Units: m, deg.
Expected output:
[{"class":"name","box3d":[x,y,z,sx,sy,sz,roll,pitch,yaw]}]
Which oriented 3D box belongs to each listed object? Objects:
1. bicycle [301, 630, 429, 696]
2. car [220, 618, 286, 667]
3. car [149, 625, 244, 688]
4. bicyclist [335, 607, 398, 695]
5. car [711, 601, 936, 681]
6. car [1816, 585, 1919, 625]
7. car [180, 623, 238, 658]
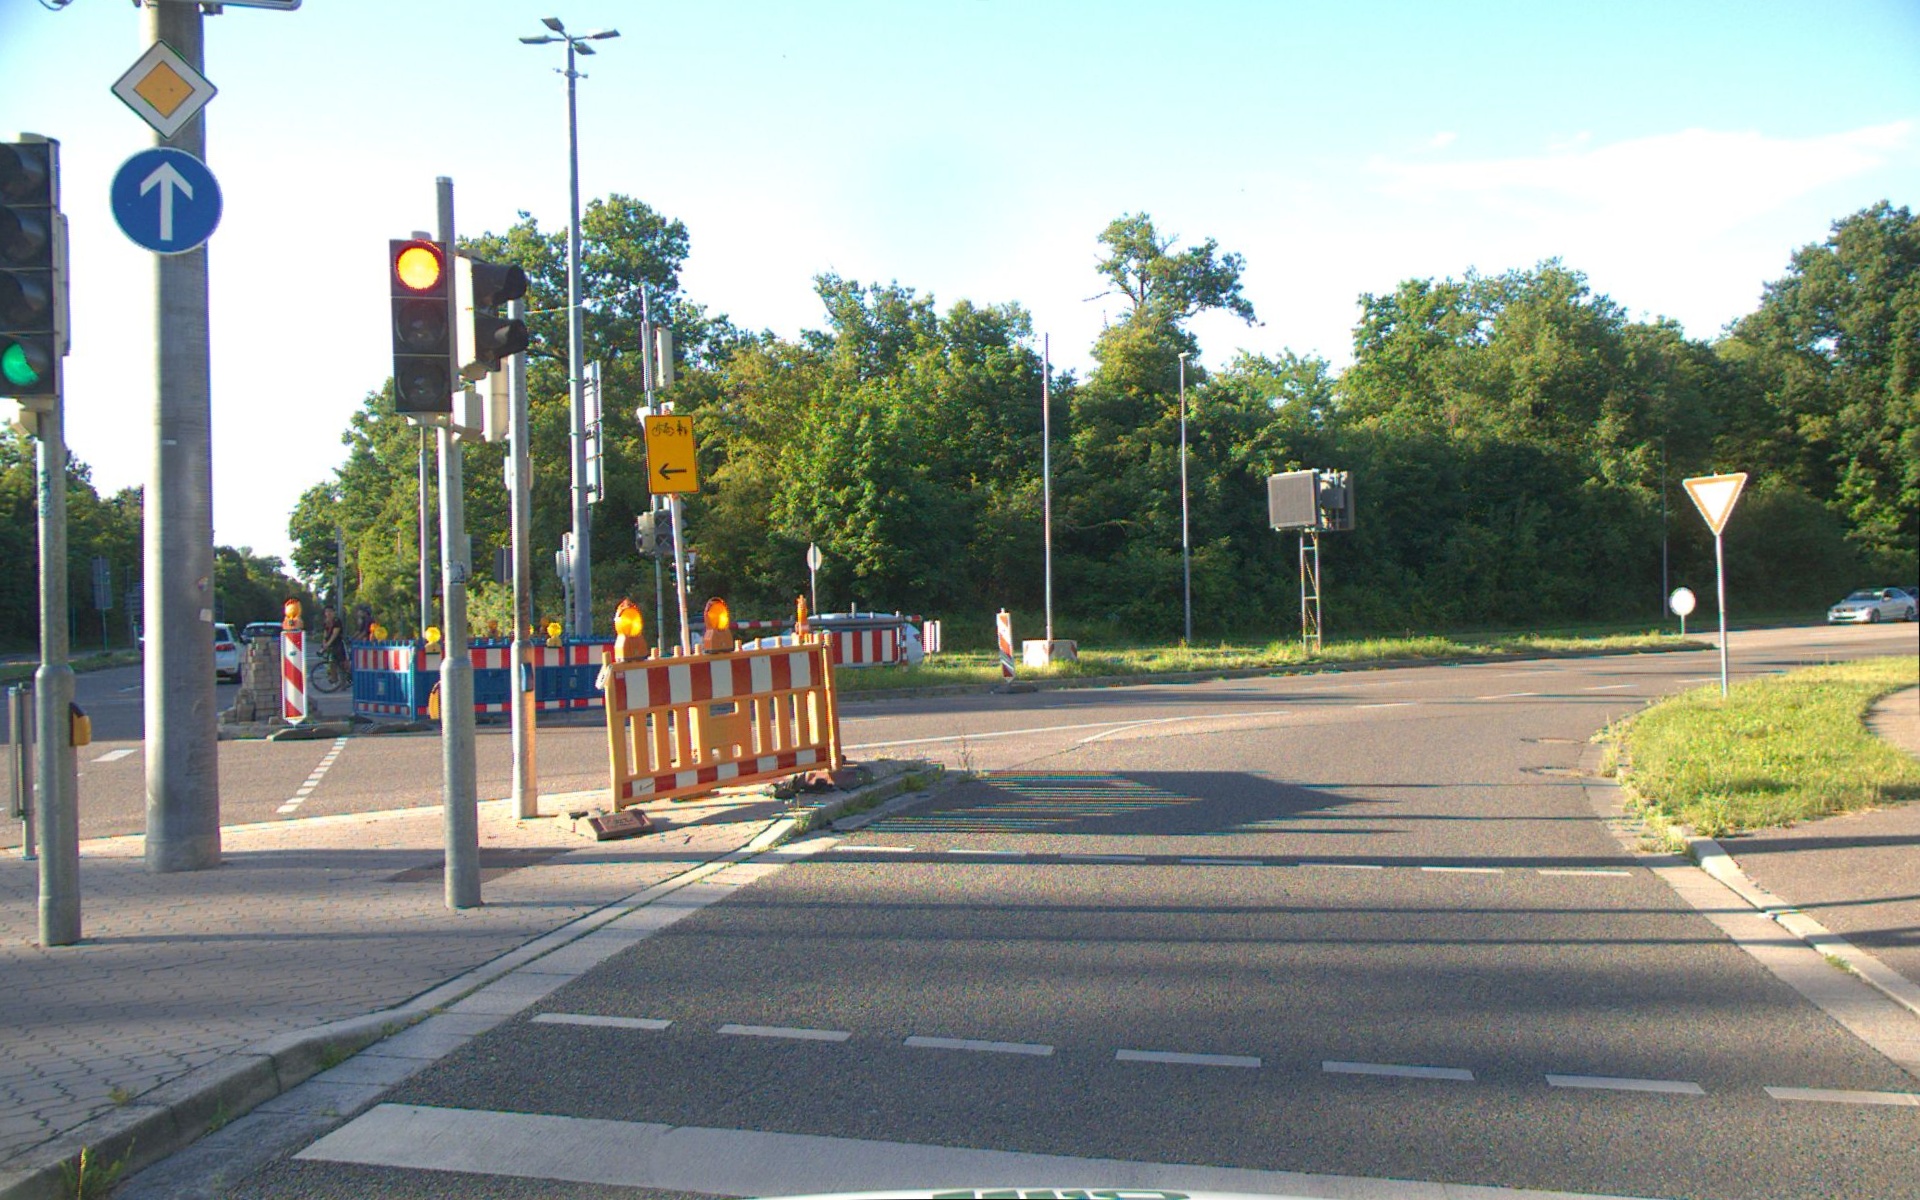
[{"class":"bicycle","box3d":[-13.431,1.391,37.407,0.950,1.407,2.626,-1,-1,40]},{"class":"car","box3d":[-24.539,1.463,57.500,1.966,1.563,3.974,-2,0,-22]},{"class":"car","box3d":[-19.159,1.381,41.654,1.913,1.439,3.974,-2,0,-22]},{"class":"bicyclist","box3d":[-13.435,1.139,37.419,0.950,1.963,1.011,-1,-1,40]},{"class":"car","box3d":[-3.025,0.895,37.317,4.787,1.608,1.971,-1,-1,-40]},{"class":"car","box3d":[36.927,0.188,66.954,4.747,1.461,1.977,-1,-1,-33]},{"class":"car","box3d":[-33.337,1.789,73.506,1.834,1.469,3.980,-1,-1,-18]}]
